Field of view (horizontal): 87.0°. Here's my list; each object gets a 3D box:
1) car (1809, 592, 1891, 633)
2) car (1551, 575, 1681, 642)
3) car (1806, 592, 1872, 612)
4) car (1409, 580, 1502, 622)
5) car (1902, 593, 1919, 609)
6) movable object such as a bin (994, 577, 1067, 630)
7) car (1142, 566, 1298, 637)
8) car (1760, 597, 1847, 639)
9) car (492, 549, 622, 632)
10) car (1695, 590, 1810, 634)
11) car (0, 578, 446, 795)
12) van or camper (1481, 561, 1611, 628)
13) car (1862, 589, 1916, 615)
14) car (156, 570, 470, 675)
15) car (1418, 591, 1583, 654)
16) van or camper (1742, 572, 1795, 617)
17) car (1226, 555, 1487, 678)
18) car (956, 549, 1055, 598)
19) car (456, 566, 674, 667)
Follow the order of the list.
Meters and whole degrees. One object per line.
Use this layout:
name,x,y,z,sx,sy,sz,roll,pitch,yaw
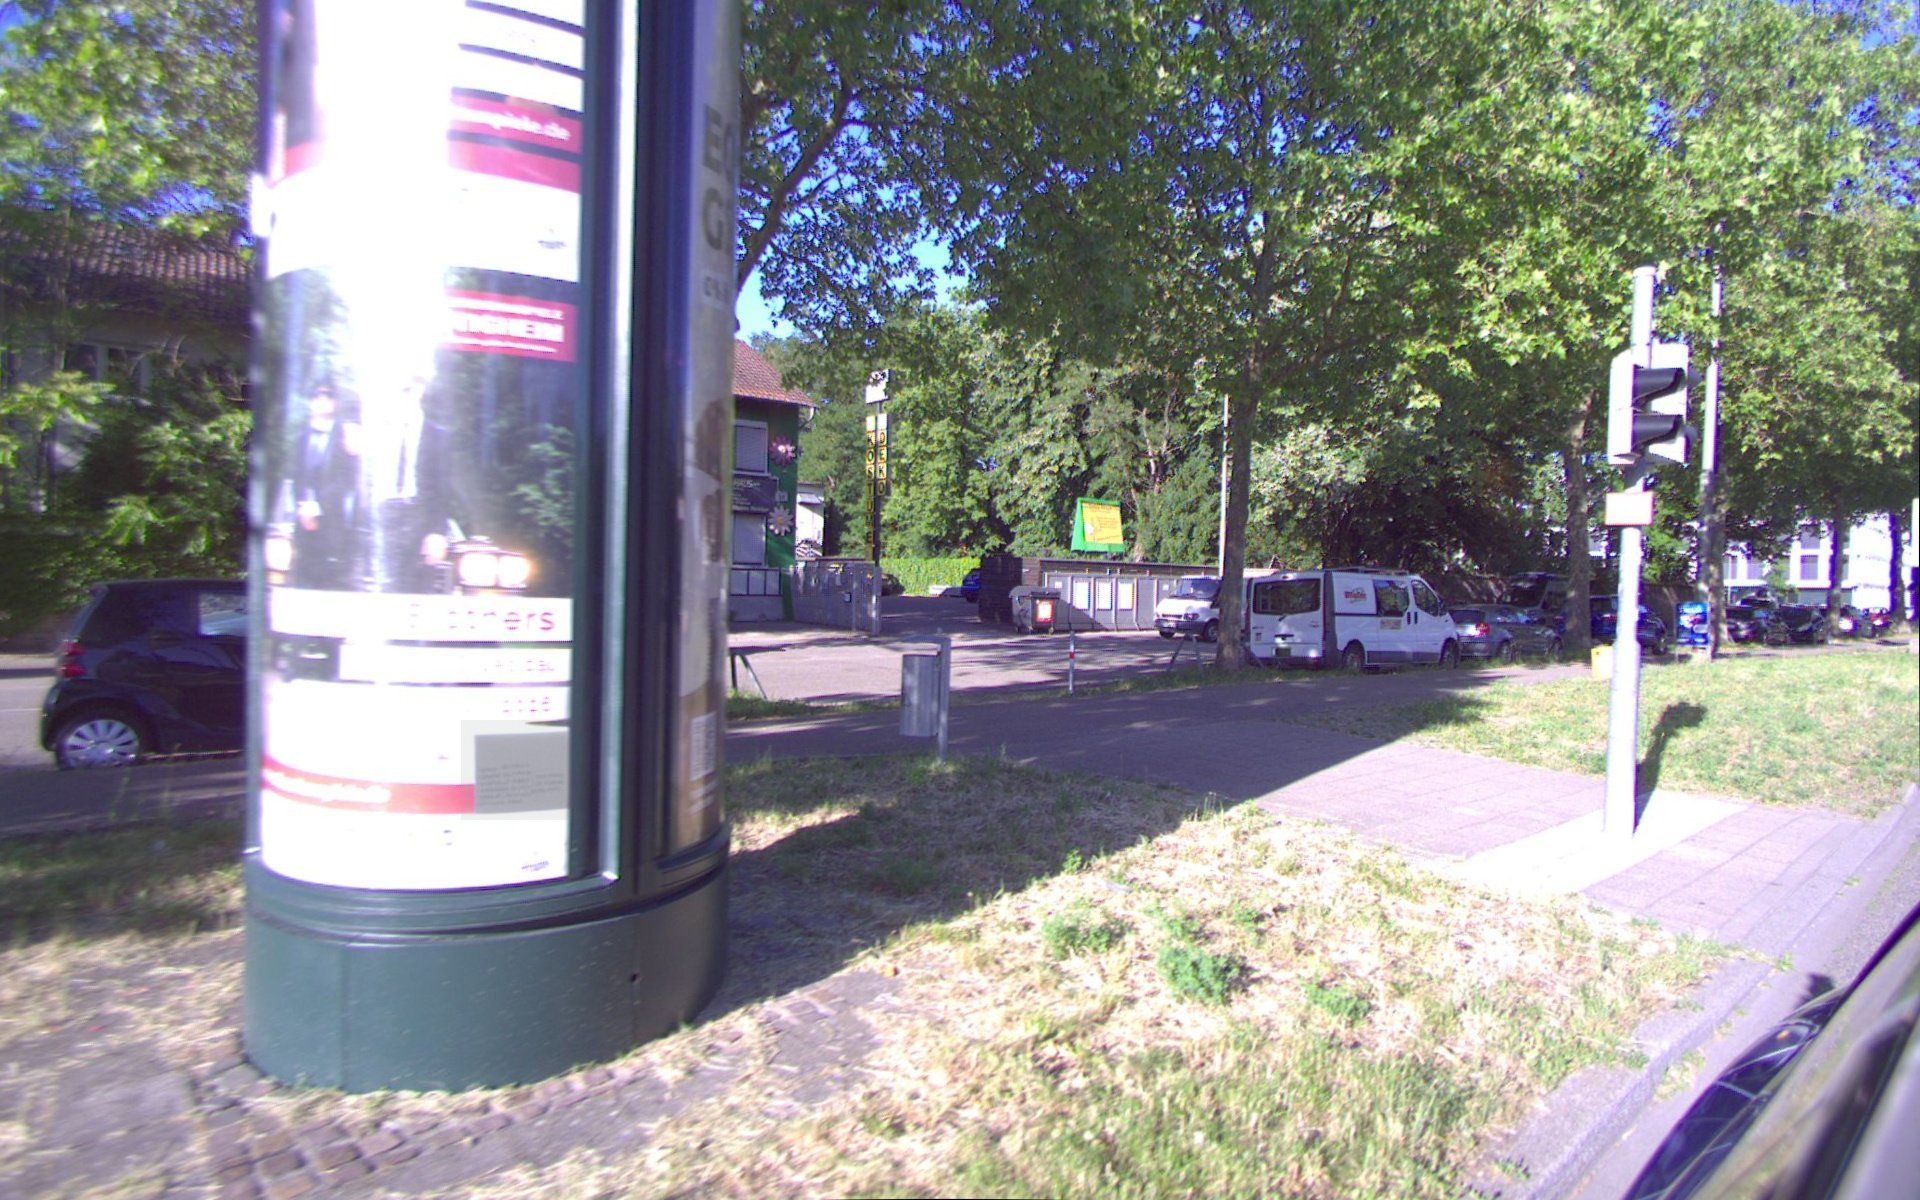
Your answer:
car,36.497,0.497,41.467,3.947,1.580,1.797,-1,-2,-38
car,17.707,0.178,27.231,4.275,1.662,1.740,-1,0,-40
car,75.914,0.160,87.450,1.685,1.486,4.090,-1,3,-39
car,19.460,0.024,39.703,3.687,1.490,1.696,0,3,-36
car,102.644,0.103,108.295,4.322,1.504,2.000,0,4,-38
movable object such as a bin,2.151,0.084,30.994,1.460,1.487,1.647,0,3,-42
car,8.122,0.015,31.431,4.850,2.039,2.093,0,1,-36
car,31.333,0.633,37.560,3.815,1.456,1.797,-1,0,-39
car,-10.027,-0.218,25.015,1.817,1.874,4.091,0,0,-40
car,26.963,0.392,34.370,4.591,1.399,1.998,0,-1,-38
car,-6.168,0.595,8.611,2.935,1.519,1.666,-1,0,-38
van or camper,26.291,-0.237,45.330,6.441,2.717,2.565,0,3,-36
car,60.619,0.131,66.074,1.986,1.660,3.952,-1,0,34
car,-10.751,0.287,17.010,4.244,1.501,2.000,-1,3,-37
car,12.422,0.456,23.192,3.981,1.306,1.997,-1,0,-40
van or camper,53.725,-0.387,67.228,4.882,2.764,1.996,-1,4,-44
car,7.760,0.245,19.491,5.716,2.039,2.194,-1,0,-40
car,1.994,-1.125,43.968,3.925,2.039,2.000,-1,0,-36
car,-7.536,0.238,19.401,3.419,1.626,1.998,-1,5,-41
